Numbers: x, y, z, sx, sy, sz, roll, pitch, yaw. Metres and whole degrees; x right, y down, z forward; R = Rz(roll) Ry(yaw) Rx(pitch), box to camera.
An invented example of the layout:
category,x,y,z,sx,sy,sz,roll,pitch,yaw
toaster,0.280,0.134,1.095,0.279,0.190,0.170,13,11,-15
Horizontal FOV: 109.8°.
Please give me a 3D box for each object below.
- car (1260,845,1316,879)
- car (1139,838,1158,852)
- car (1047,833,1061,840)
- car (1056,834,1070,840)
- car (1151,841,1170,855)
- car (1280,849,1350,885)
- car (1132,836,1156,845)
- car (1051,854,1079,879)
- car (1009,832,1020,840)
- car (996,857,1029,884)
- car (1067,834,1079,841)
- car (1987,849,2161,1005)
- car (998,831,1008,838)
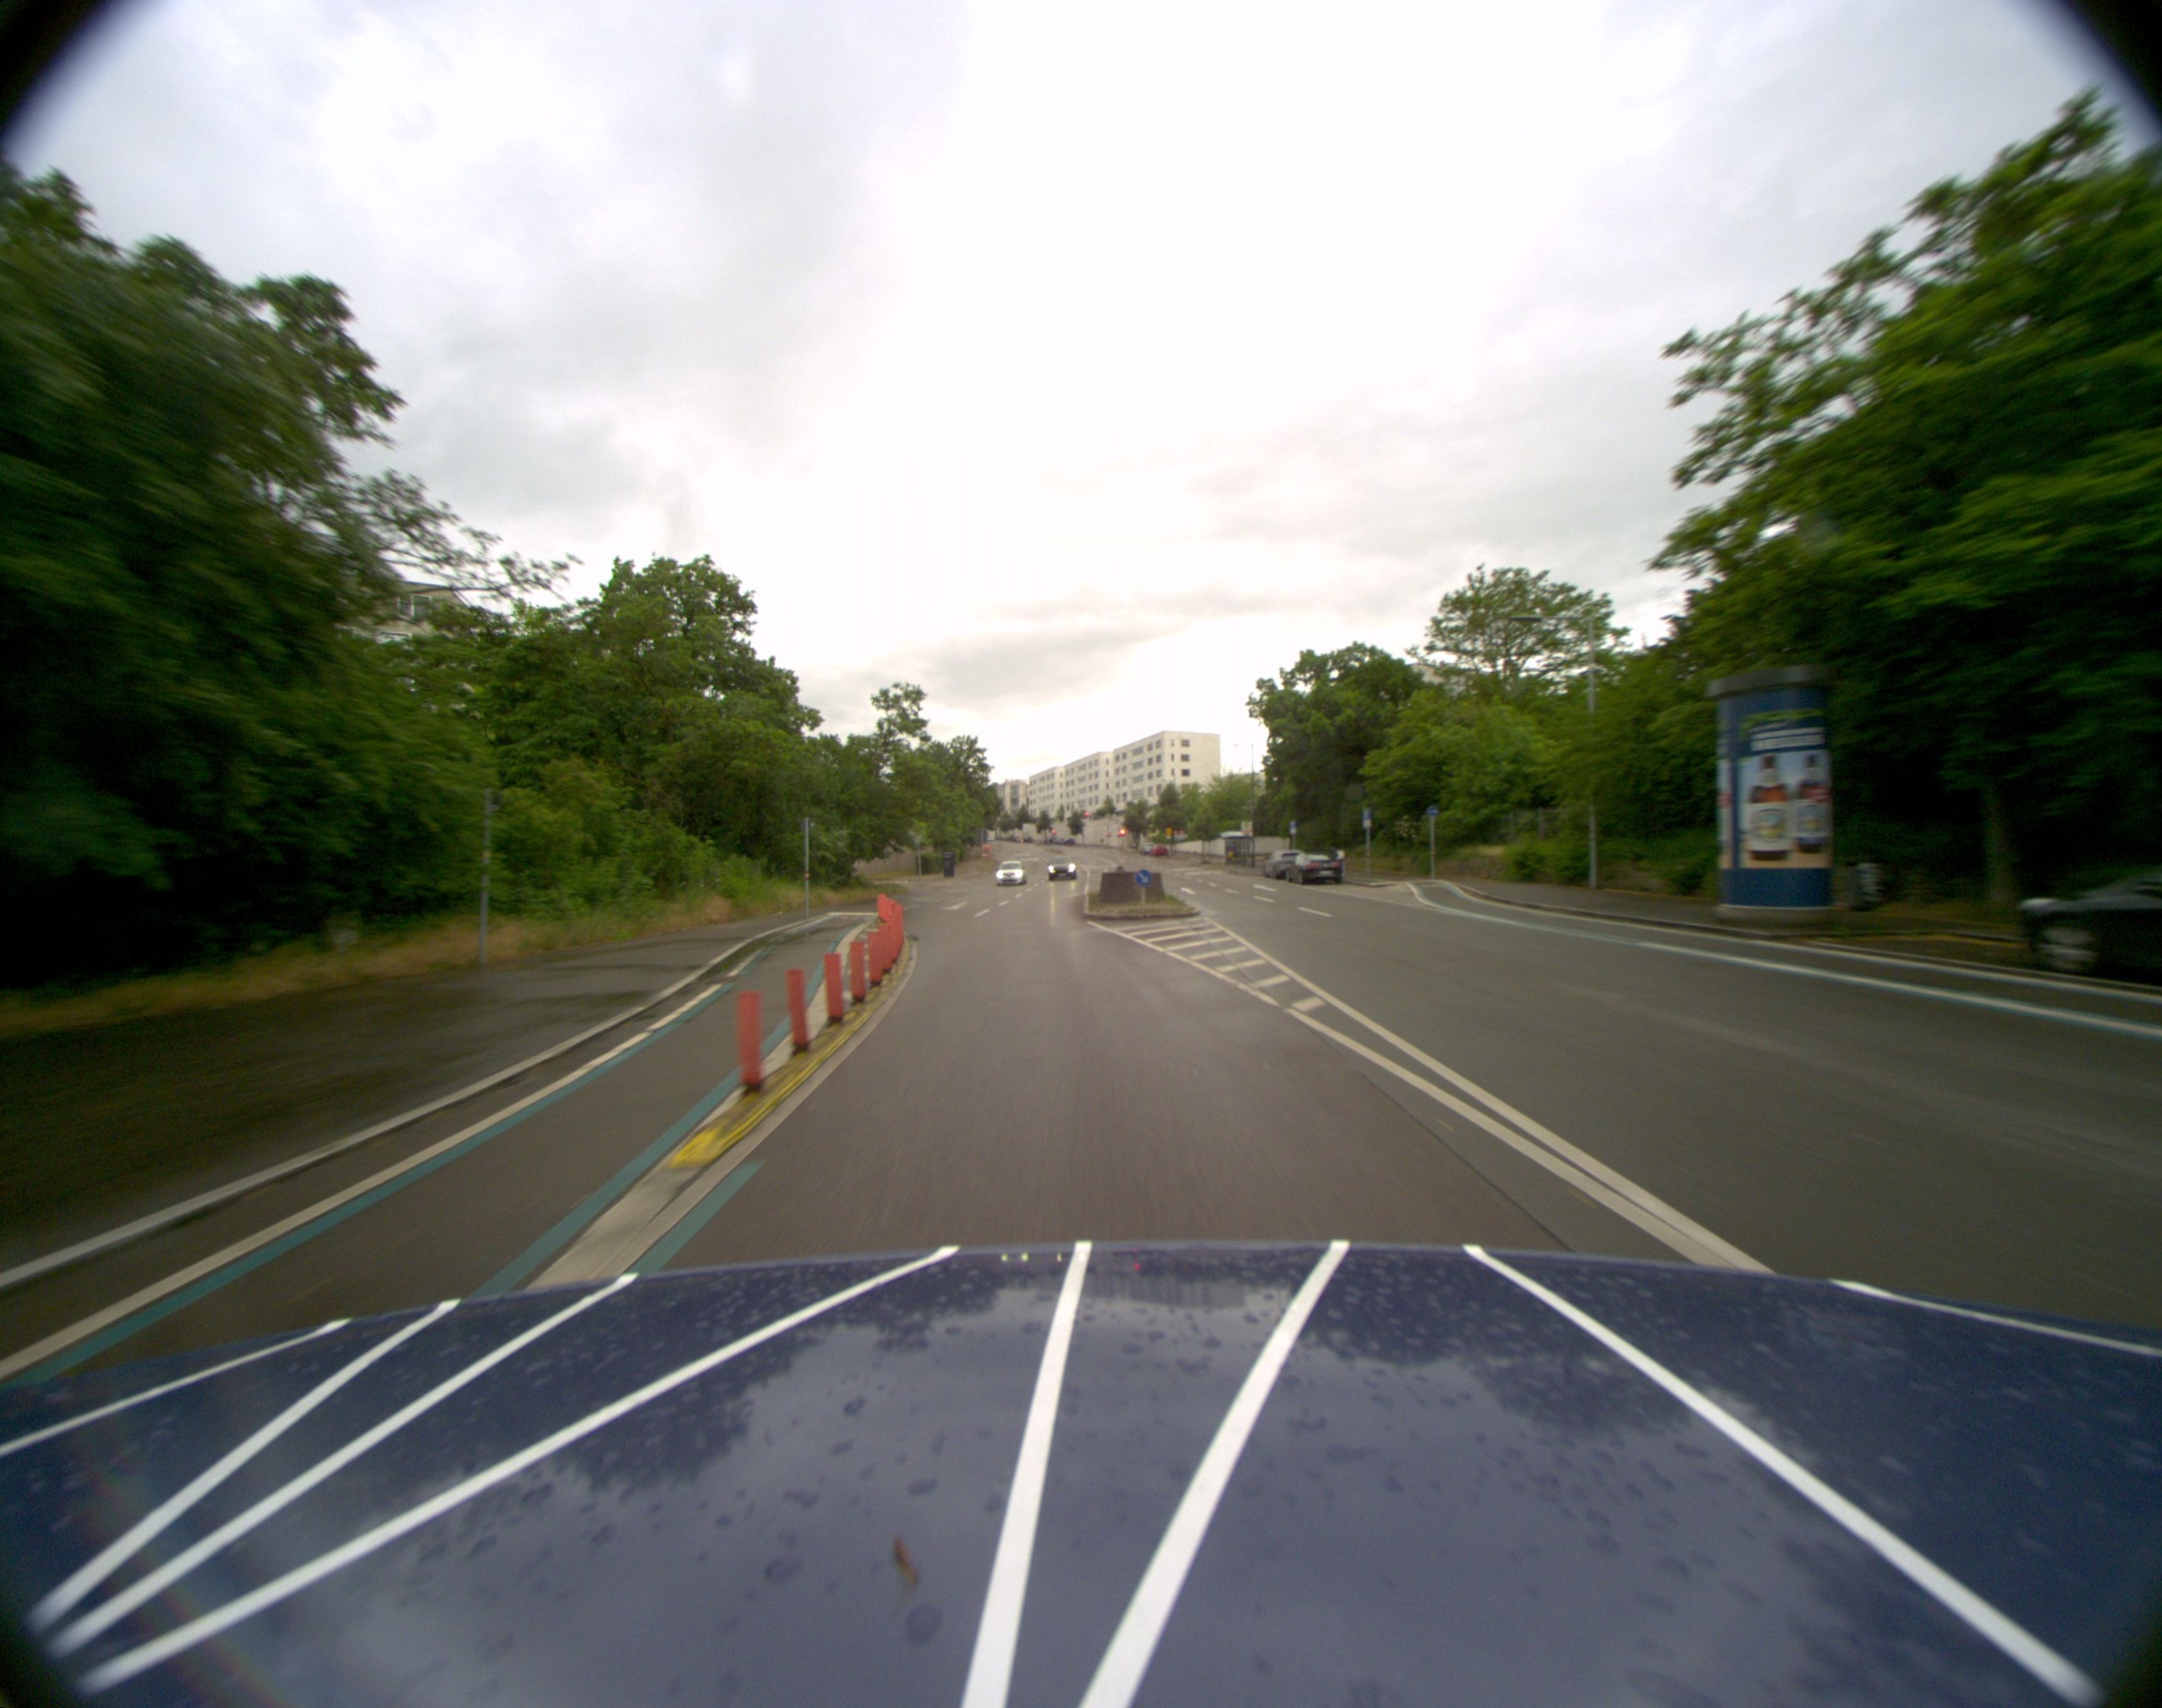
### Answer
category,x,y,z,sx,sy,sz,roll,pitch,yaw
car,11.186,0.383,41.405,1.845,1.580,4.928,-3,1,3
car,9.233,-1.283,103.960,1.769,1.644,4.879,-3,3,-5
car,-6.329,-4.081,177.747,1.792,1.623,3.991,-1,3,-22
car,-4.223,-3.889,173.376,1.865,1.470,3.991,-2,2,-22
car,10.126,-0.807,97.005,1.670,1.578,4.213,-1,2,-5
car,10.786,0.545,35.383,1.910,1.406,4.783,-3,1,3
car,12.632,-2.723,152.203,4.351,1.643,1.995,-1,3,-22
car,-1.188,0.867,55.520,1.830,1.584,3.998,-3,1,-3
car,-18.484,-5.040,211.811,1.927,2.002,4.378,-2,1,-19
car,-4.487,1.045,50.214,1.927,1.652,3.999,-2,0,-2
car,-1.799,-3.584,168.061,1.683,1.451,2.690,-1,3,-23
car,11.085,0.699,6.381,1.752,1.436,4.589,-2,0,6
car,-23.034,-5.737,224.773,1.927,2.002,4.378,-2,1,-19
